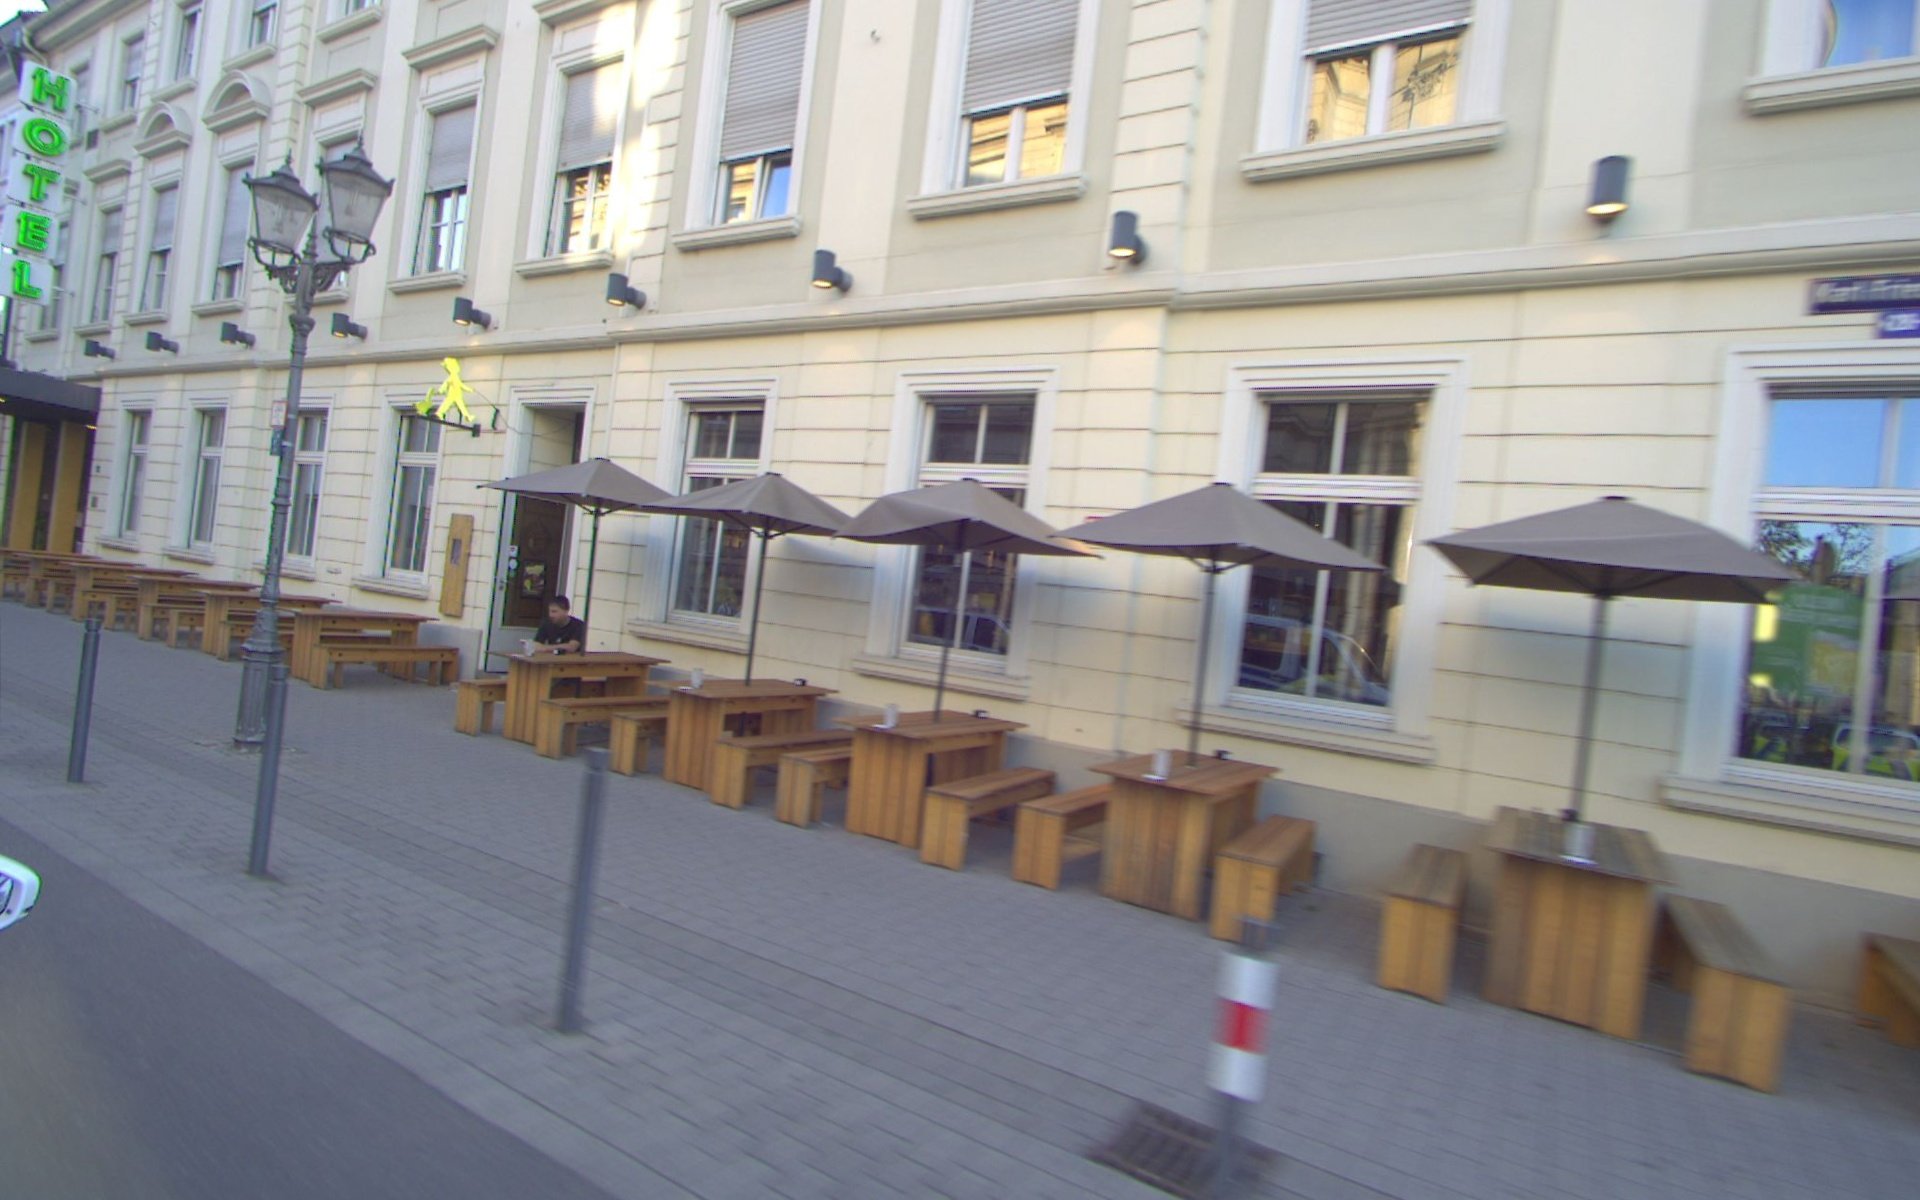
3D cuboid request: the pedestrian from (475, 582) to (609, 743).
[{"bbox_3d":[-3.925,0.580,9.494,0.710,1.376,0.777,7,0,16],"label":"pedestrian"}]
